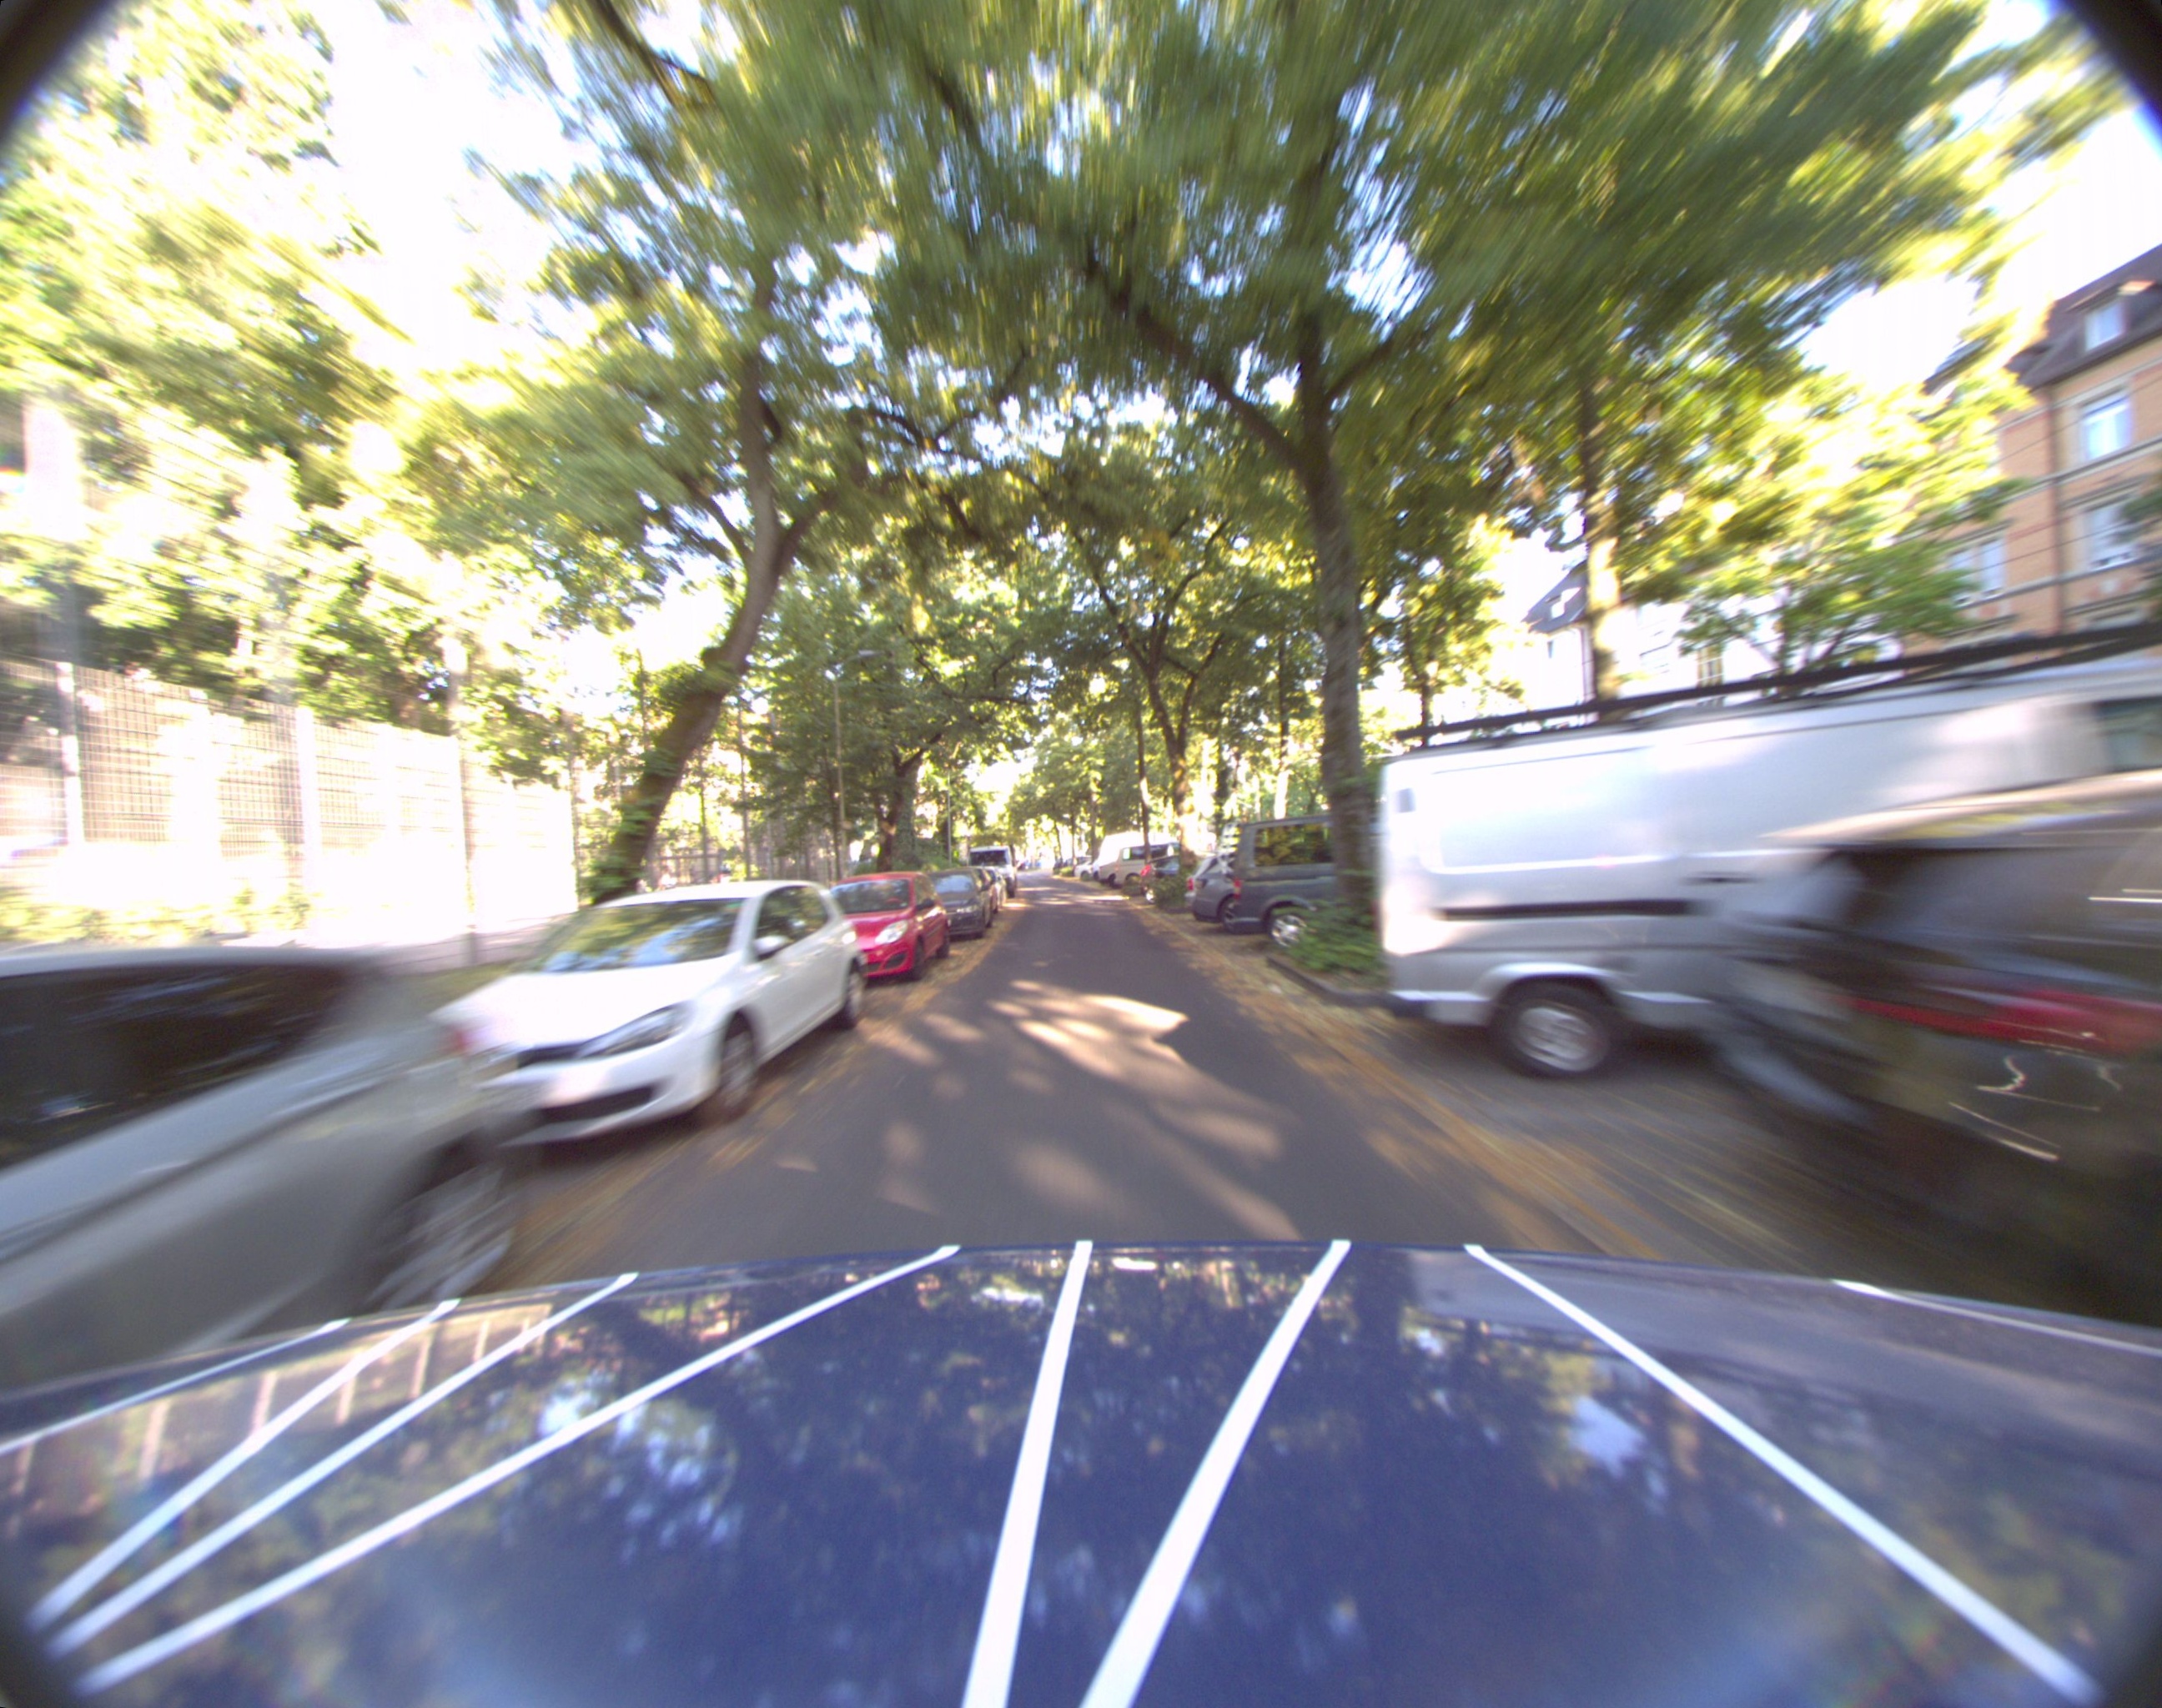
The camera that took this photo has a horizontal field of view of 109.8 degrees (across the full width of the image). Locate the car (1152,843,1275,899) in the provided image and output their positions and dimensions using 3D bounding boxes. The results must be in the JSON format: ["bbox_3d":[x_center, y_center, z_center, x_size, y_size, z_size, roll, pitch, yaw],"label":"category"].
[{"bbox_3d":[4.419,0.562,25.380,3.543,1.485,1.828,-6,1,28],"label":"car"}]

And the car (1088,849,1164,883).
[{"bbox_3d":[2.445,0.662,41.474,3.543,1.485,1.828,-6,1,28],"label":"car"}]

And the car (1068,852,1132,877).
[{"bbox_3d":[1.399,0.800,56.019,4.305,1.396,1.746,-6,0,21],"label":"car"}]

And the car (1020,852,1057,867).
[{"bbox_3d":[-5.679,0.733,101.569,4.435,1.613,1.636,-6,2,15],"label":"car"}]

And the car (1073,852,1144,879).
[{"bbox_3d":[1.940,0.815,53.231,4.456,1.396,1.859,-6,0,24],"label":"car"}]

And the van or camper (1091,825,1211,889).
[{"bbox_3d":[3.228,0.147,35.046,4.875,2.456,2.048,-5,1,25],"label":"van or camper"}]

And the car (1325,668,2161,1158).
[{"bbox_3d":[4.581,0.270,4.516,5.502,2.125,2.084,-6,1,29],"label":"car"}]

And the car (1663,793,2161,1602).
[{"bbox_3d":[4.403,0.551,1.685,4.510,1.607,1.937,-6,1,23],"label":"car"}]

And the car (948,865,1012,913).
[{"bbox_3d":[-3.444,1.151,26.616,1.677,1.389,4.298,-3,0,-1],"label":"car"}]

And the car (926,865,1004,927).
[{"bbox_3d":[-3.212,1.123,21.697,1.677,1.445,3.948,-3,0,-2],"label":"car"}]

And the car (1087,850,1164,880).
[{"bbox_3d":[2.746,0.683,47.049,4.235,1.432,1.859,-6,1,24],"label":"car"}]

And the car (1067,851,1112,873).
[{"bbox_3d":[0.711,0.684,65.152,3.347,1.559,1.574,-6,0,22],"label":"car"}]

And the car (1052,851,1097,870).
[{"bbox_3d":[-0.619,0.649,73.583,3.890,1.440,1.636,-6,2,20],"label":"car"}]

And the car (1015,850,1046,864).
[{"bbox_3d":[-7.619,0.428,114.401,4.236,1.658,1.636,-6,2,15],"label":"car"}]

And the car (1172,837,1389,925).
[{"bbox_3d":[4.273,0.600,16.382,4.084,1.479,1.786,-6,1,30],"label":"car"}]

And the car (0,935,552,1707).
[{"bbox_3d":[-2.972,1.106,1.083,1.685,1.445,4.074,-3,0,-3],"label":"car"}]

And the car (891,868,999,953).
[{"bbox_3d":[-2.797,1.110,16.377,1.677,1.445,3.948,-3,0,-2],"label":"car"}]

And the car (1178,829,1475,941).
[{"bbox_3d":[4.275,0.583,13.472,4.561,1.532,1.937,-5,1,32],"label":"car"}]

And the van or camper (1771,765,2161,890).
[{"bbox_3d":[19.713,-0.501,17.219,5.664,2.454,2.003,-2,0,23],"label":"van or camper"}]

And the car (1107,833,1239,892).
[{"bbox_3d":[3.834,0.364,31.770,4.875,1.966,2.048,-5,1,28],"label":"car"}]

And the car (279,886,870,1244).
[{"bbox_3d":[-3.000,1.101,5.705,1.685,1.445,4.075,-3,0,-1],"label":"car"}]

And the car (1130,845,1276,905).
[{"bbox_3d":[3.650,0.642,22.920,3.816,1.430,1.828,-5,1,33],"label":"car"}]

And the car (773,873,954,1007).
[{"bbox_3d":[-2.953,1.094,11.069,1.595,1.445,3.554,-3,0,-1],"label":"car"}]

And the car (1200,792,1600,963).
[{"bbox_3d":[4.335,0.389,10.699,4.702,1.931,1.937,-5,1,32],"label":"car"}]

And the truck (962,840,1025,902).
[{"bbox_3d":[-3.844,0.689,34.521,2.302,2.372,6.931,-3,0,-3],"label":"truck"}]
